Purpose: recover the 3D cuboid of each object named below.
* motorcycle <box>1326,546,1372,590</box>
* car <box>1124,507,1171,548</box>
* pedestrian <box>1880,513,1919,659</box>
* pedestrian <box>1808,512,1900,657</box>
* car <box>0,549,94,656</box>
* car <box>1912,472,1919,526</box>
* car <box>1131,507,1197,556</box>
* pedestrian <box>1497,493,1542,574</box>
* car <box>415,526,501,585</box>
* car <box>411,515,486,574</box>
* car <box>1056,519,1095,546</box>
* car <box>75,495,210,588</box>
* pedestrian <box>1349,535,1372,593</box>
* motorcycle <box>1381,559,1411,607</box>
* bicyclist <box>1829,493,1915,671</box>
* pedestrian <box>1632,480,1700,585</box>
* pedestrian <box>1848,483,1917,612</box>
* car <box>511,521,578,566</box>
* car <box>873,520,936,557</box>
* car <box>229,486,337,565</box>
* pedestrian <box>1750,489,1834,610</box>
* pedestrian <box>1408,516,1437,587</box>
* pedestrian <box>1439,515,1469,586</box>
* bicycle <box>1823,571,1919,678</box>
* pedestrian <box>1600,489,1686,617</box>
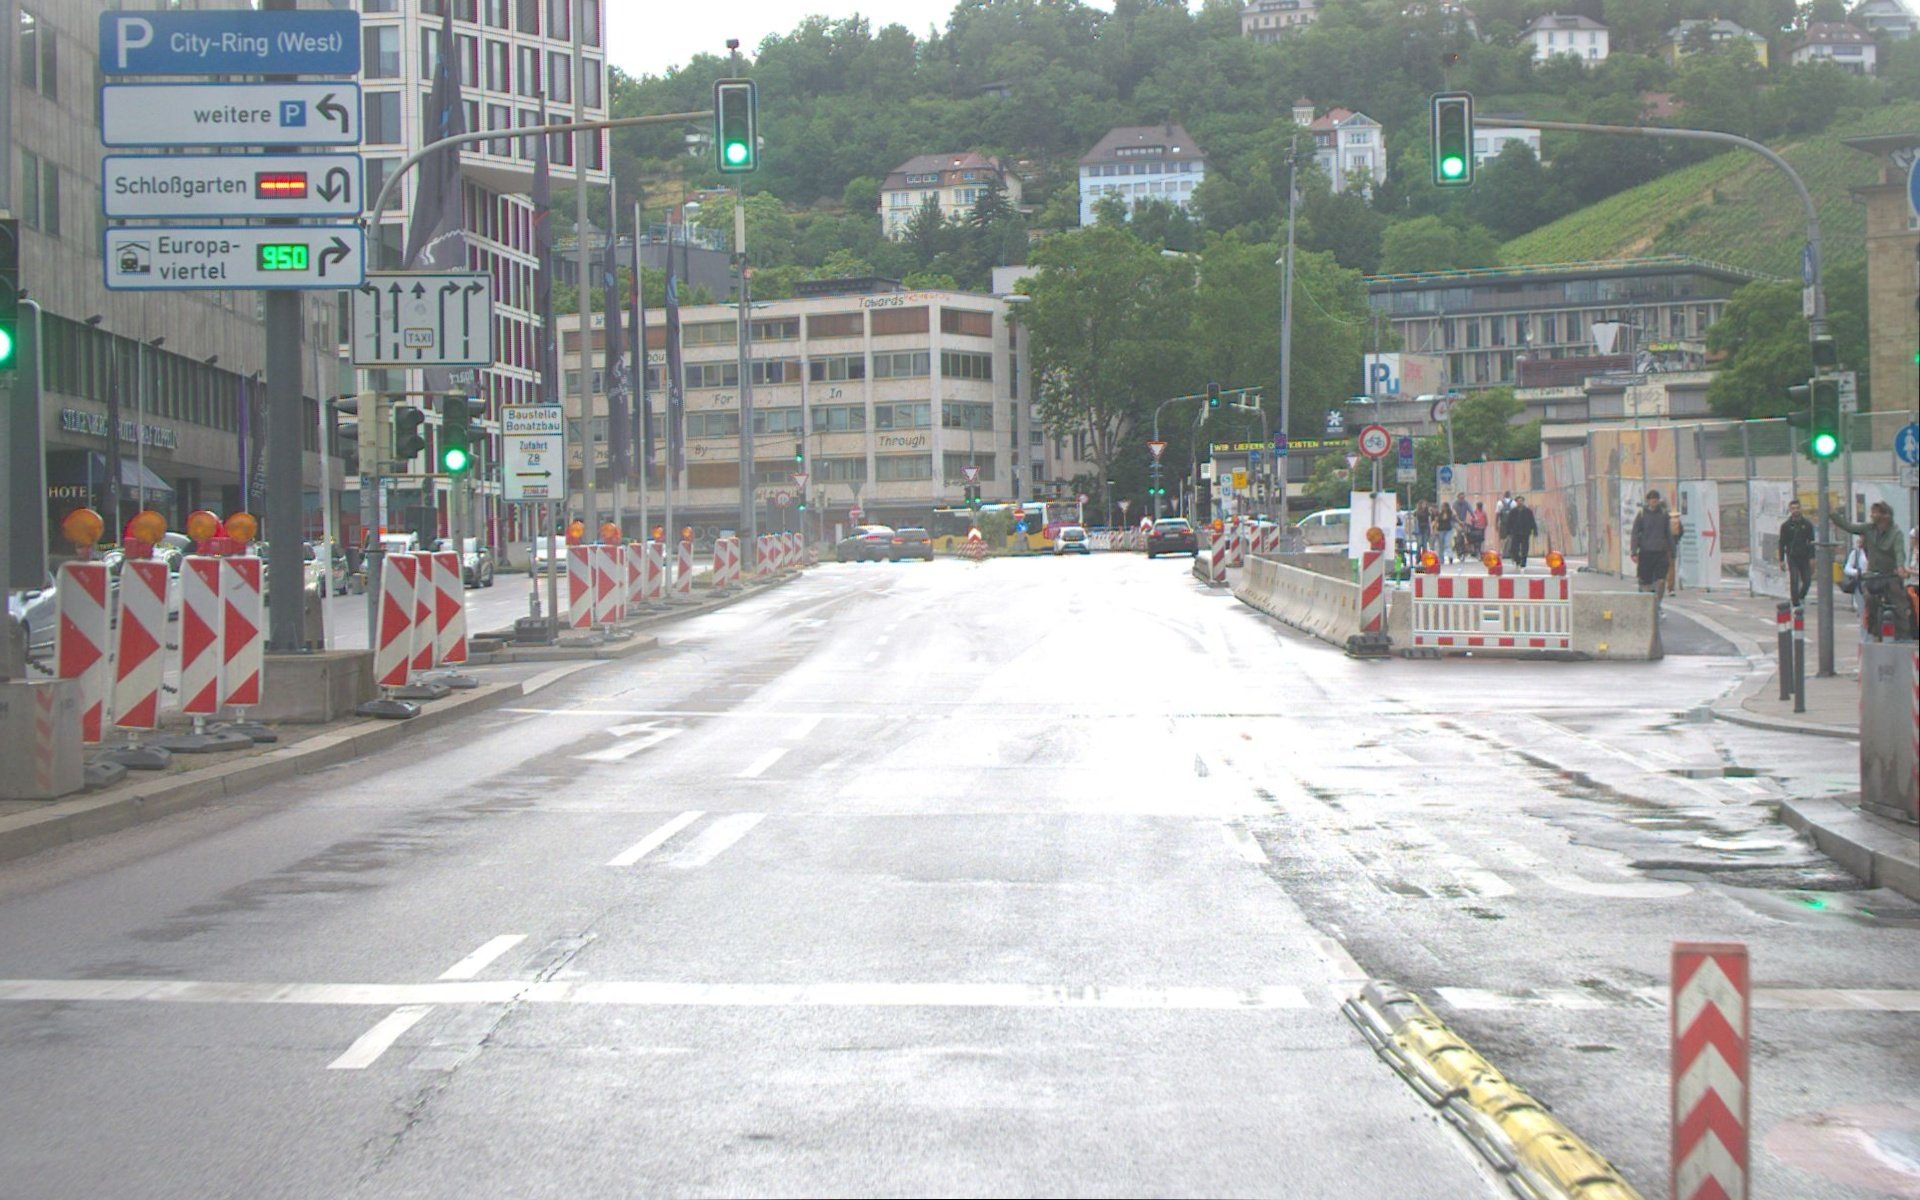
[{"bbox_3d":[6.198,-0.510,54.787,0.400,0.679,0.922,0,1,-16],"label":"motorcycle"},{"bbox_3d":[7.939,-3.068,145.630,1.776,1.634,4.000,-2,1,1],"label":"car"},{"bbox_3d":[10.718,-0.160,38.107,0.796,1.602,0.834,-1,1,29],"label":"pedestrian"},{"bbox_3d":[10.042,-0.178,38.616,0.796,1.602,0.834,-1,1,29],"label":"pedestrian"},{"bbox_3d":[-15.089,0.027,54.233,1.768,1.603,4.226,-1,1,0],"label":"car"},{"bbox_3d":[38.151,-3.848,129.922,3.988,2.007,1.999,-1,1,10],"label":"car"},{"bbox_3d":[7.320,-2.451,123.797,1.993,1.700,4.000,-1,1,-1],"label":"car"},{"bbox_3d":[12.877,-1.536,79.193,0.946,1.835,0.867,-1,1,6],"label":"pedestrian"},{"bbox_3d":[-15.454,-1.382,106.082,1.993,1.744,4.000,-1,1,1],"label":"car"},{"bbox_3d":[-18.035,-1.953,121.424,1.993,2.007,4.000,-2,1,0],"label":"car"},{"bbox_3d":[6.109,-3.582,182.131,1.819,1.437,4.001,1,1,-1],"label":"car"},{"bbox_3d":[-18.507,-1.322,77.981,1.993,2.007,4.164,-1,1,1],"label":"car"},{"bbox_3d":[12.916,-1.156,110.932,0.688,1.835,0.614,-1,1,5],"label":"pedestrian"},{"bbox_3d":[6.753,-0.262,53.241,0.371,0.719,0.922,1,1,2],"label":"motorcycle"},{"bbox_3d":[9.522,-0.194,35.934,0.703,1.838,0.968,0,1,4],"label":"bicyclist"},{"bbox_3d":[12.554,-1.197,61.150,0.946,1.835,0.867,-1,1,-3],"label":"pedestrian"},{"bbox_3d":[13.334,-0.755,49.716,0.865,1.835,0.797,-1,1,10],"label":"pedestrian"},{"bbox_3d":[-15.912,-2.180,131.687,1.993,1.612,4.000,-2,1,1],"label":"car"},{"bbox_3d":[-2.397,-2.643,148.210,1.993,1.546,4.001,-1,1,-11],"label":"car"},{"bbox_3d":[-17.941,-1.955,91.271,1.993,2.007,4.000,-1,1,1],"label":"car"},{"bbox_3d":[12.824,-0.774,52.966,0.867,1.835,0.947,-1,1,43],"label":"pedestrian"},{"bbox_3d":[12.072,-1.255,89.821,0.688,1.835,0.614,-1,1,5],"label":"pedestrian"},{"bbox_3d":[12.892,-1.291,89.748,0.688,1.835,0.614,-1,1,5],"label":"pedestrian"},{"bbox_3d":[9.522,0.239,35.861,0.707,1.046,1.806,0,2,4],"label":"bicycle"},{"bbox_3d":[9.999,-0.691,50.307,0.948,1.835,0.945,-1,1,30],"label":"pedestrian"}]
